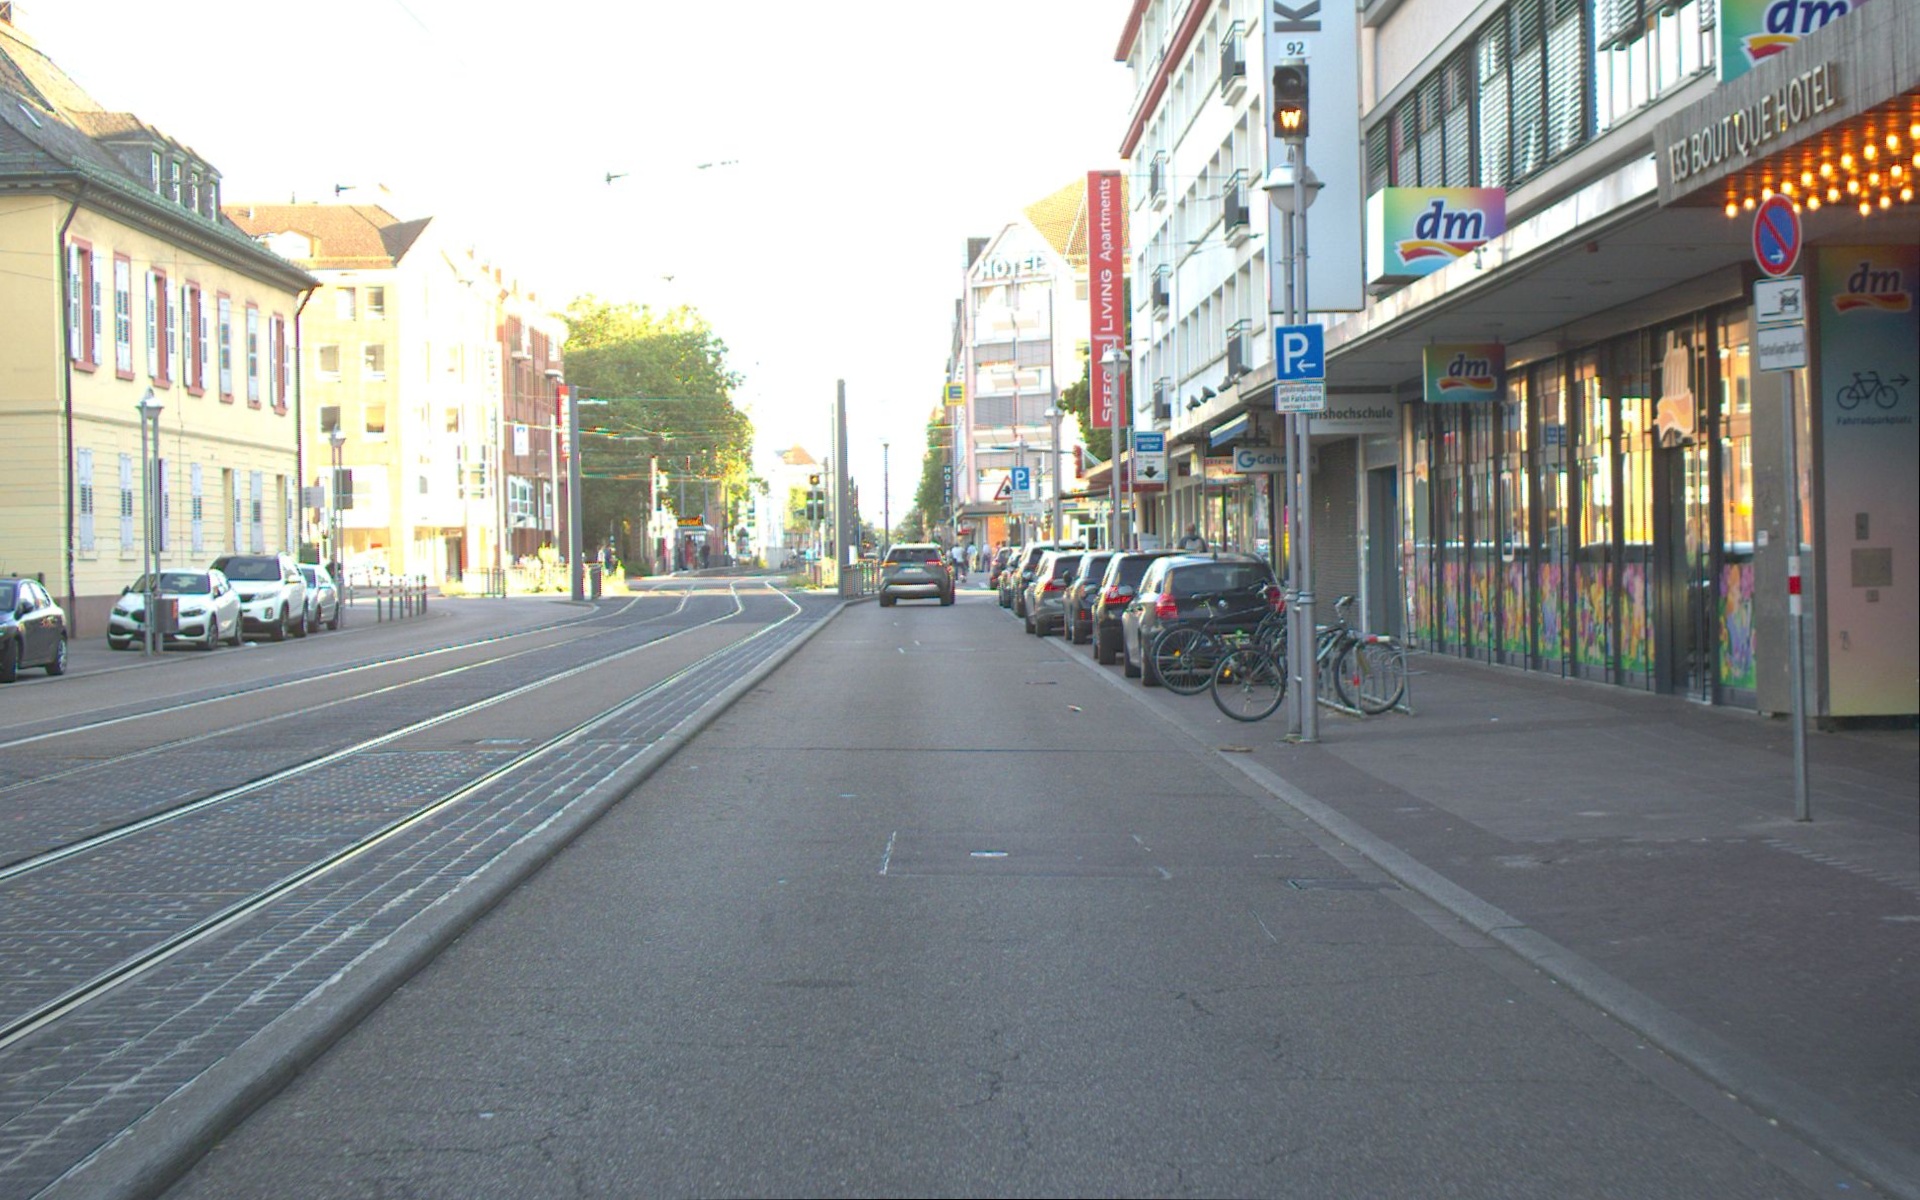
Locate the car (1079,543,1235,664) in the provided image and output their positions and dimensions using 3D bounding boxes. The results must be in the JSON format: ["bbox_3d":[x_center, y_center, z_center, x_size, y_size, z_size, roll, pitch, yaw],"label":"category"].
[{"bbox_3d":[2.582,0.029,45.842,1.765,1.508,4.072,1,0,-1],"label":"car"}]

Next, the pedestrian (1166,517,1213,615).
[{"bbox_3d":[4.468,-0.661,67.024,0.774,1.874,0.935,-1,0,-2],"label":"pedestrian"}]

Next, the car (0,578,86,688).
[{"bbox_3d":[-13.737,0.428,48.787,1.692,1.420,3.965,1,1,-1],"label":"car"}]

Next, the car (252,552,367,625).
[{"bbox_3d":[-13.905,-0.272,73.657,1.748,1.469,4.000,1,1,-1],"label":"car"}]

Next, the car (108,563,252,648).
[{"bbox_3d":[-14.175,0.077,62.676,1.721,1.448,4.284,1,1,-1],"label":"car"}]

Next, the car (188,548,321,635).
[{"bbox_3d":[-14.080,-0.199,68.879,1.886,1.655,4.762,1,1,-3],"label":"car"}]

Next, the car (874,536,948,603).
[{"bbox_3d":[-1.294,-0.801,92.062,1.835,1.630,4.090,-2,-1,0],"label":"car"}]

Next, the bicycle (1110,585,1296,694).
[{"bbox_3d":[2.490,0.398,35.338,1.839,1.106,0.642,0,0,-4],"label":"bicycle"}]

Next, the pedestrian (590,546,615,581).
[{"bbox_3d":[-14.213,-1.458,136.734,0.903,1.370,0.854,-1,0,-3],"label":"pedestrian"}]

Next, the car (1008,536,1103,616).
[{"bbox_3d":[2.079,-0.523,75.746,1.856,1.695,4.418,1,0,-1],"label":"car"}]

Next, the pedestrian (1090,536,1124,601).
[{"bbox_3d":[3.575,-0.776,83.787,0.733,1.568,0.967,-1,1,-1],"label":"pedestrian"}]

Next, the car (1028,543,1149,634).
[{"bbox_3d":[2.228,-0.209,60.856,1.791,1.528,4.857,1,0,-2],"label":"car"}]

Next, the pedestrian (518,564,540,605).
[{"bbox_3d":[-14.490,-0.524,115.673,0.663,1.370,0.652,-1,1,-3],"label":"pedestrian"}]

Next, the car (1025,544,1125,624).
[{"bbox_3d":[2.251,-0.342,68.168,1.781,1.517,4.357,1,1,-1],"label":"car"}]

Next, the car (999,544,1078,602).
[{"bbox_3d":[1.966,-0.689,87.014,1.790,1.408,4.688,1,0,-1],"label":"car"}]

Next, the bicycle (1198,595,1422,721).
[{"bbox_3d":[3.003,0.492,29.559,1.794,0.969,0.576,-3,1,-3],"label":"bicycle"}]

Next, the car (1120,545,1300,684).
[{"bbox_3d":[2.757,0.140,38.621,1.654,1.458,4.023,1,0,-1],"label":"car"}]

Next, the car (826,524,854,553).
[{"bbox_3d":[-8.645,-4.447,247.759,1.955,2.007,4.000,1,0,-1],"label":"car"}]

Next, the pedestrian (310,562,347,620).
[{"bbox_3d":[-16.963,-0.252,92.423,0.799,1.536,0.877,1,0,1],"label":"pedestrian"}]

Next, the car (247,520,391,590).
[{"bbox_3d":[-19.192,-1.354,102.906,3.986,2.007,2.001,-1,0,-17],"label":"car"}]

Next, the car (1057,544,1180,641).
[{"bbox_3d":[2.517,-0.132,55.269,1.726,1.476,4.000,1,0,-1],"label":"car"}]
